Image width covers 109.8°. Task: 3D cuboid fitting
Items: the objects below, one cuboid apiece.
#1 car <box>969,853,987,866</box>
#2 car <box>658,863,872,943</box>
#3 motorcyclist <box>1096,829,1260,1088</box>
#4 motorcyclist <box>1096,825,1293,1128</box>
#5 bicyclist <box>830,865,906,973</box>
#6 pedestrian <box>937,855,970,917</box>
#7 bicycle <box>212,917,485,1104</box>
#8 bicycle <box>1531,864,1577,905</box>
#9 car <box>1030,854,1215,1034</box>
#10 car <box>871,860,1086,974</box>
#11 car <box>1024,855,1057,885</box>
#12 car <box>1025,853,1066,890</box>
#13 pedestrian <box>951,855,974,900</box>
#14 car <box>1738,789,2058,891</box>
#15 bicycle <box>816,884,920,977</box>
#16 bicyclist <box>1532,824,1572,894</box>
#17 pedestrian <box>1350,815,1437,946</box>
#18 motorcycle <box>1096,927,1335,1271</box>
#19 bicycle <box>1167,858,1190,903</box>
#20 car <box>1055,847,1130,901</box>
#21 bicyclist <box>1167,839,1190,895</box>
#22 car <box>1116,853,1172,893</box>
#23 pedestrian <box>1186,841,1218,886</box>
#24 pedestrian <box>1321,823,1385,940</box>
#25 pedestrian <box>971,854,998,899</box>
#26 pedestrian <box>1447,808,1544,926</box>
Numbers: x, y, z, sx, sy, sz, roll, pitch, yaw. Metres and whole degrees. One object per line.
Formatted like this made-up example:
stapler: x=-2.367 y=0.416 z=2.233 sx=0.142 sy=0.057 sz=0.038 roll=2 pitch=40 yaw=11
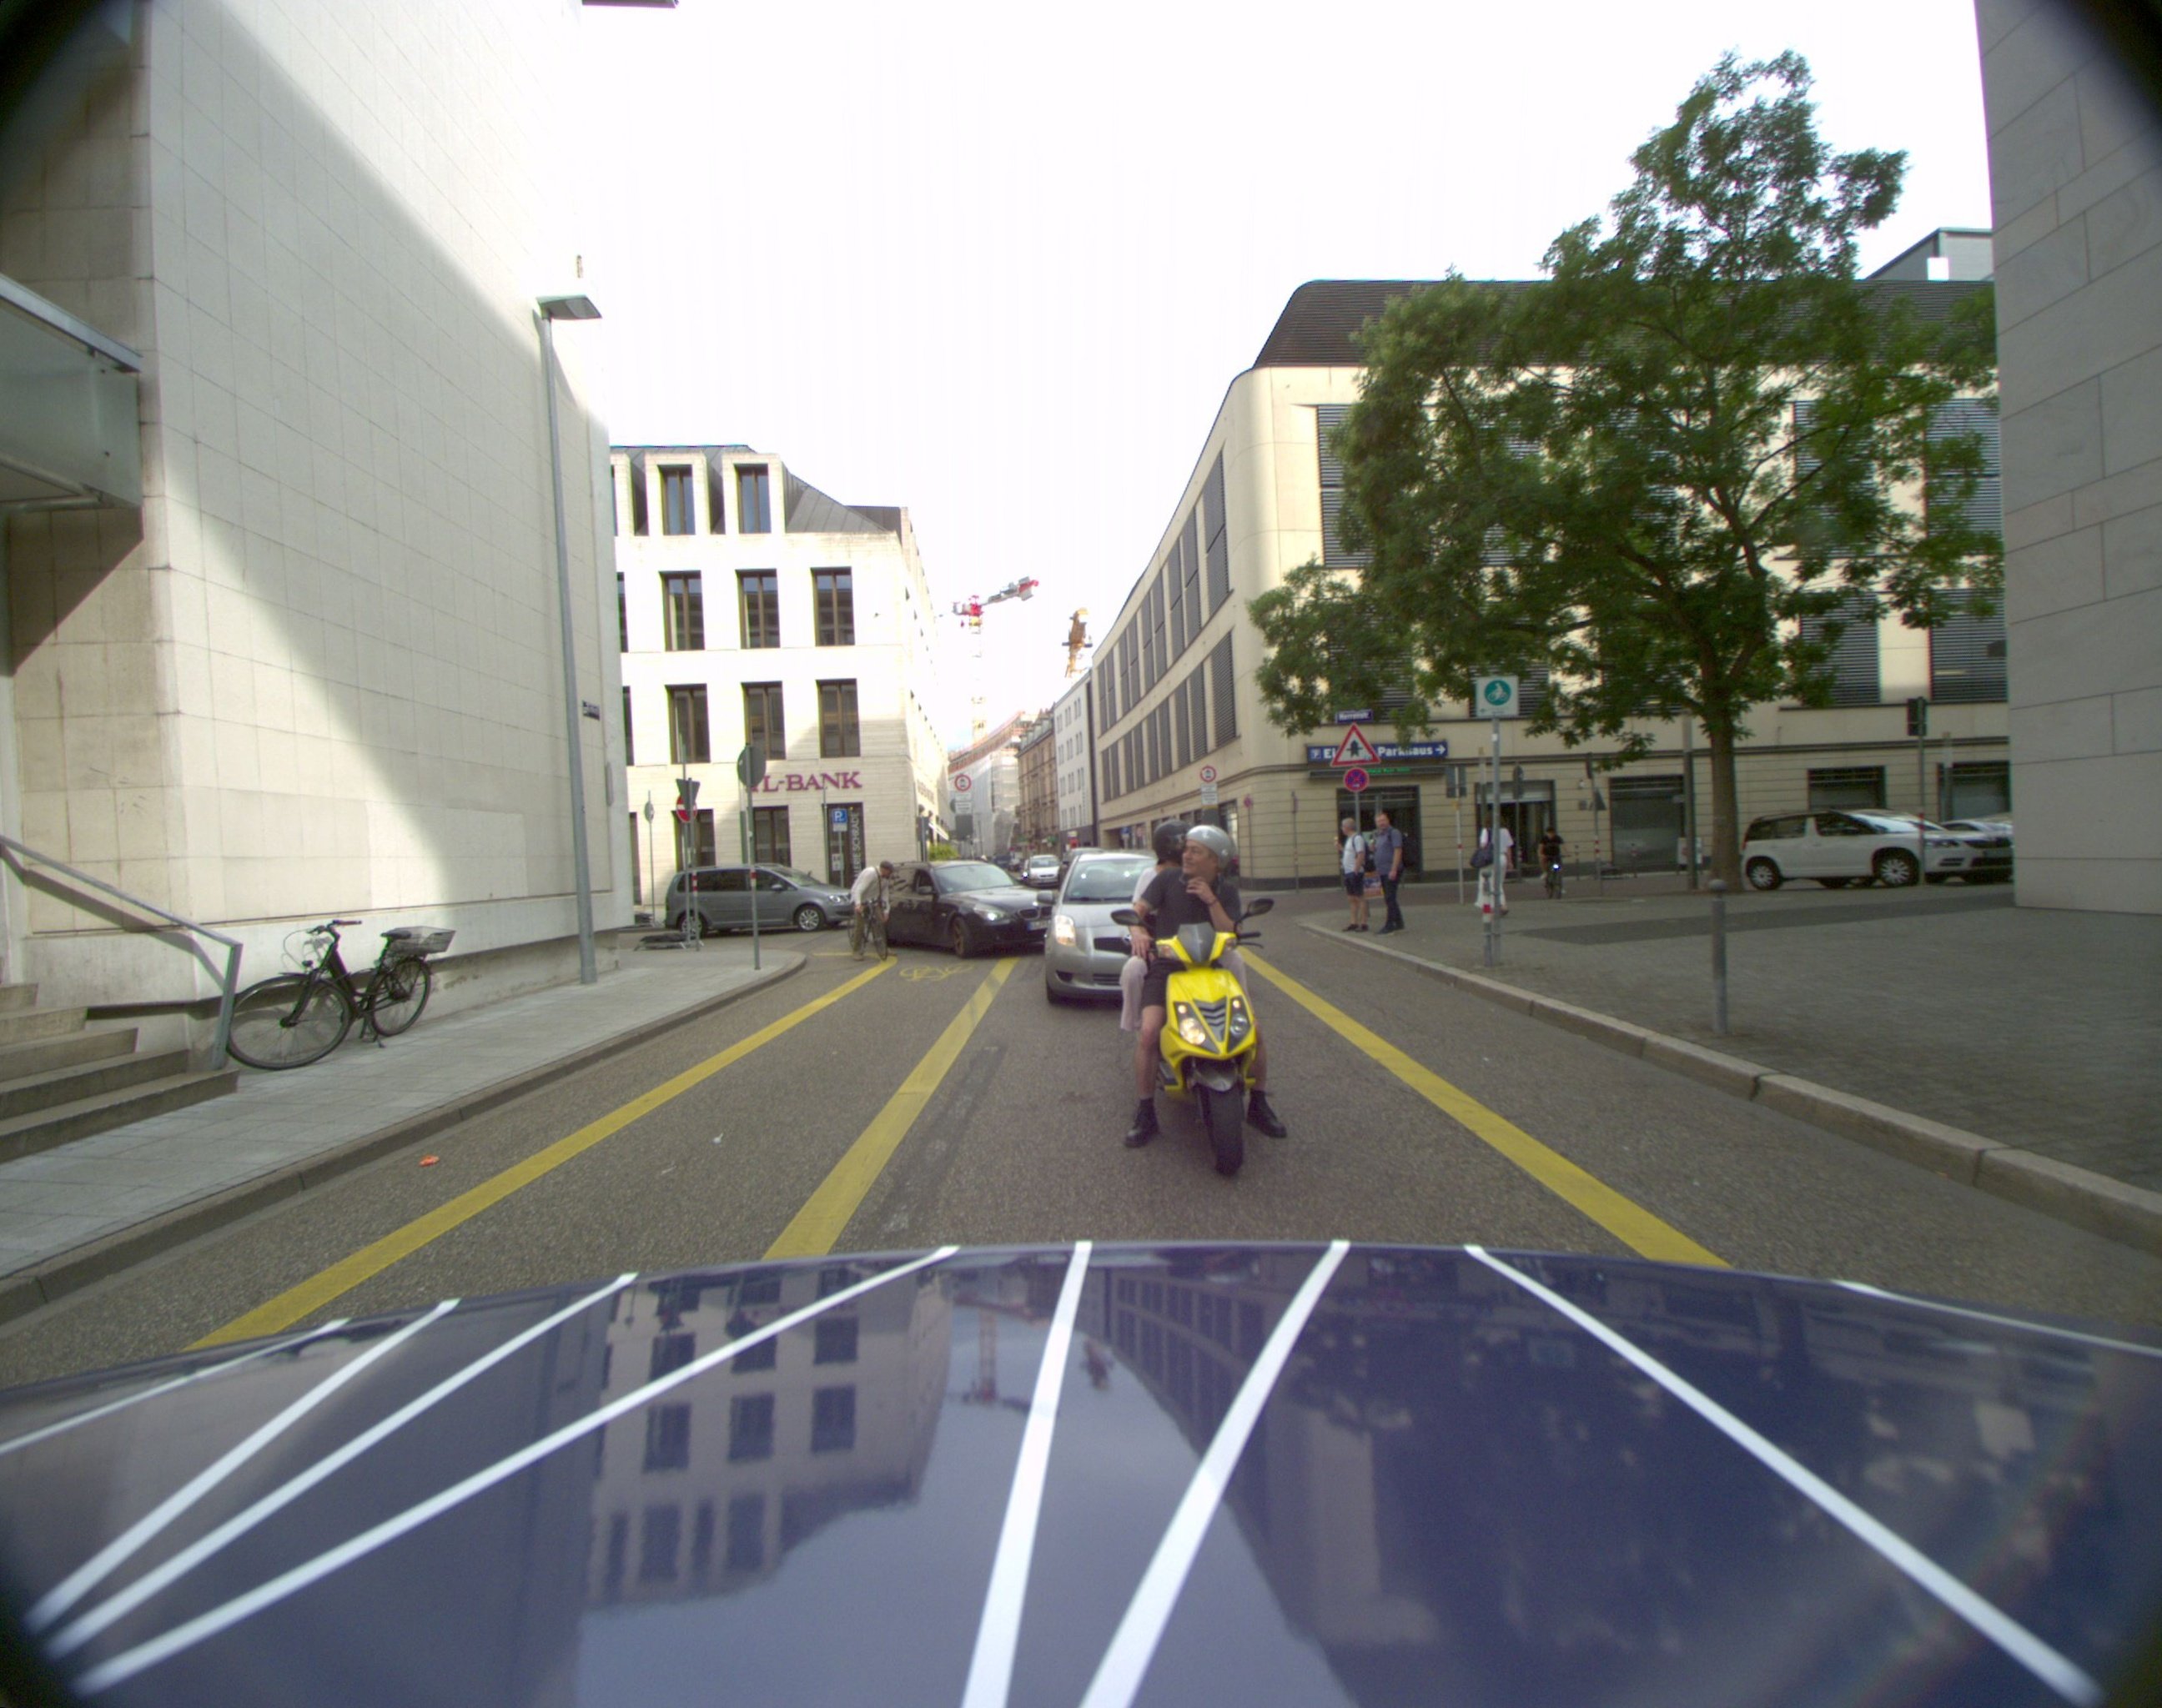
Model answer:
car: x=-12.457 y=0.672 z=91.438 sx=1.590 sy=1.477 sz=3.994 roll=-3 pitch=1 yaw=-15
car: x=-7.292 y=1.100 z=17.873 sx=4.193 sy=1.581 sz=1.814 roll=-2 pitch=1 yaw=-2
motorcyclist: x=0.554 y=0.588 z=4.640 sx=0.903 sy=1.445 sz=0.742 roll=-1 pitch=0 yaw=1
motorcyclist: x=0.553 y=0.591 z=4.175 sx=0.924 sy=1.445 sz=1.065 roll=-1 pitch=0 yaw=1
bicyclist: x=-3.372 y=0.987 z=12.016 sx=0.894 sy=1.585 sz=0.875 roll=-3 pitch=1 yaw=-30
pedestrian: x=-3.934 y=0.959 z=23.392 sx=0.774 sy=1.820 sz=0.860 roll=-3 pitch=1 yaw=-20
bicycle: x=-6.023 y=1.211 z=6.425 sx=0.590 sy=1.161 sz=1.814 roll=-2 pitch=1 yaw=-4
bicycle: x=11.238 y=0.713 z=18.044 sx=0.600 sy=0.829 sz=1.728 roll=-7 pitch=-2 yaw=41
car: x=0.429 y=0.797 z=8.600 sx=1.562 sy=1.482 sz=3.784 roll=-3 pitch=1 yaw=2
car: x=-1.802 y=0.911 z=12.403 sx=1.720 sy=1.482 sz=3.755 roll=-4 pitch=1 yaw=-38
car: x=-2.263 y=0.859 z=42.123 sx=1.589 sy=1.477 sz=3.997 roll=-2 pitch=1 yaw=-6
car: x=-1.754 y=0.784 z=35.999 sx=1.563 sy=1.547 sz=4.100 roll=-3 pitch=1 yaw=-7
pedestrian: x=-5.062 y=0.993 z=32.485 sx=0.861 sy=1.820 sz=0.773 roll=-2 pitch=1 yaw=-6
car: x=15.904 y=-0.155 z=15.166 sx=1.899 sy=1.682 sz=3.964 roll=-2 pitch=-3 yaw=-3
bicycle: x=-3.476 y=1.144 z=12.171 sx=0.872 sy=1.188 sz=2.857 roll=-3 pitch=1 yaw=-30
bicyclist: x=11.206 y=0.115 z=18.071 sx=0.621 sy=1.609 sz=0.645 roll=-5 pitch=0 yaw=40
pedestrian: x=4.618 y=0.372 z=11.259 sx=0.745 sy=1.804 sz=0.756 roll=-6 pitch=1 yaw=-11
motorcycle: x=0.556 y=1.076 z=4.082 sx=0.929 sy=1.158 sz=2.127 roll=-1 pitch=0 yaw=1
bicycle: x=2.928 y=0.770 z=22.853 sx=0.648 sy=1.233 sz=1.954 roll=0 pitch=1 yaw=7
car: x=0.272 y=0.576 z=24.448 sx=1.710 sy=1.482 sz=4.100 roll=-3 pitch=1 yaw=-8
bicyclist: x=2.922 y=0.389 z=22.840 sx=0.644 sy=1.644 sz=0.940 roll=0 pitch=1 yaw=7
car: x=2.708 y=0.760 z=33.286 sx=1.563 sy=1.547 sz=4.100 roll=-3 pitch=1 yaw=-7
pedestrian: x=5.008 y=0.386 z=31.409 sx=0.892 sy=1.755 sz=1.060 roll=-6 pitch=1 yaw=-6
pedestrian: x=4.277 y=0.418 z=11.954 sx=0.644 sy=1.755 sz=0.653 roll=-3 pitch=1 yaw=-11
pedestrian: x=-4.077 y=0.944 z=32.141 sx=0.860 sy=1.820 sz=0.774 roll=-2 pitch=1 yaw=7
pedestrian: x=6.480 y=0.194 z=11.941 sx=0.879 sy=1.699 sz=0.910 roll=-6 pitch=1 yaw=0
